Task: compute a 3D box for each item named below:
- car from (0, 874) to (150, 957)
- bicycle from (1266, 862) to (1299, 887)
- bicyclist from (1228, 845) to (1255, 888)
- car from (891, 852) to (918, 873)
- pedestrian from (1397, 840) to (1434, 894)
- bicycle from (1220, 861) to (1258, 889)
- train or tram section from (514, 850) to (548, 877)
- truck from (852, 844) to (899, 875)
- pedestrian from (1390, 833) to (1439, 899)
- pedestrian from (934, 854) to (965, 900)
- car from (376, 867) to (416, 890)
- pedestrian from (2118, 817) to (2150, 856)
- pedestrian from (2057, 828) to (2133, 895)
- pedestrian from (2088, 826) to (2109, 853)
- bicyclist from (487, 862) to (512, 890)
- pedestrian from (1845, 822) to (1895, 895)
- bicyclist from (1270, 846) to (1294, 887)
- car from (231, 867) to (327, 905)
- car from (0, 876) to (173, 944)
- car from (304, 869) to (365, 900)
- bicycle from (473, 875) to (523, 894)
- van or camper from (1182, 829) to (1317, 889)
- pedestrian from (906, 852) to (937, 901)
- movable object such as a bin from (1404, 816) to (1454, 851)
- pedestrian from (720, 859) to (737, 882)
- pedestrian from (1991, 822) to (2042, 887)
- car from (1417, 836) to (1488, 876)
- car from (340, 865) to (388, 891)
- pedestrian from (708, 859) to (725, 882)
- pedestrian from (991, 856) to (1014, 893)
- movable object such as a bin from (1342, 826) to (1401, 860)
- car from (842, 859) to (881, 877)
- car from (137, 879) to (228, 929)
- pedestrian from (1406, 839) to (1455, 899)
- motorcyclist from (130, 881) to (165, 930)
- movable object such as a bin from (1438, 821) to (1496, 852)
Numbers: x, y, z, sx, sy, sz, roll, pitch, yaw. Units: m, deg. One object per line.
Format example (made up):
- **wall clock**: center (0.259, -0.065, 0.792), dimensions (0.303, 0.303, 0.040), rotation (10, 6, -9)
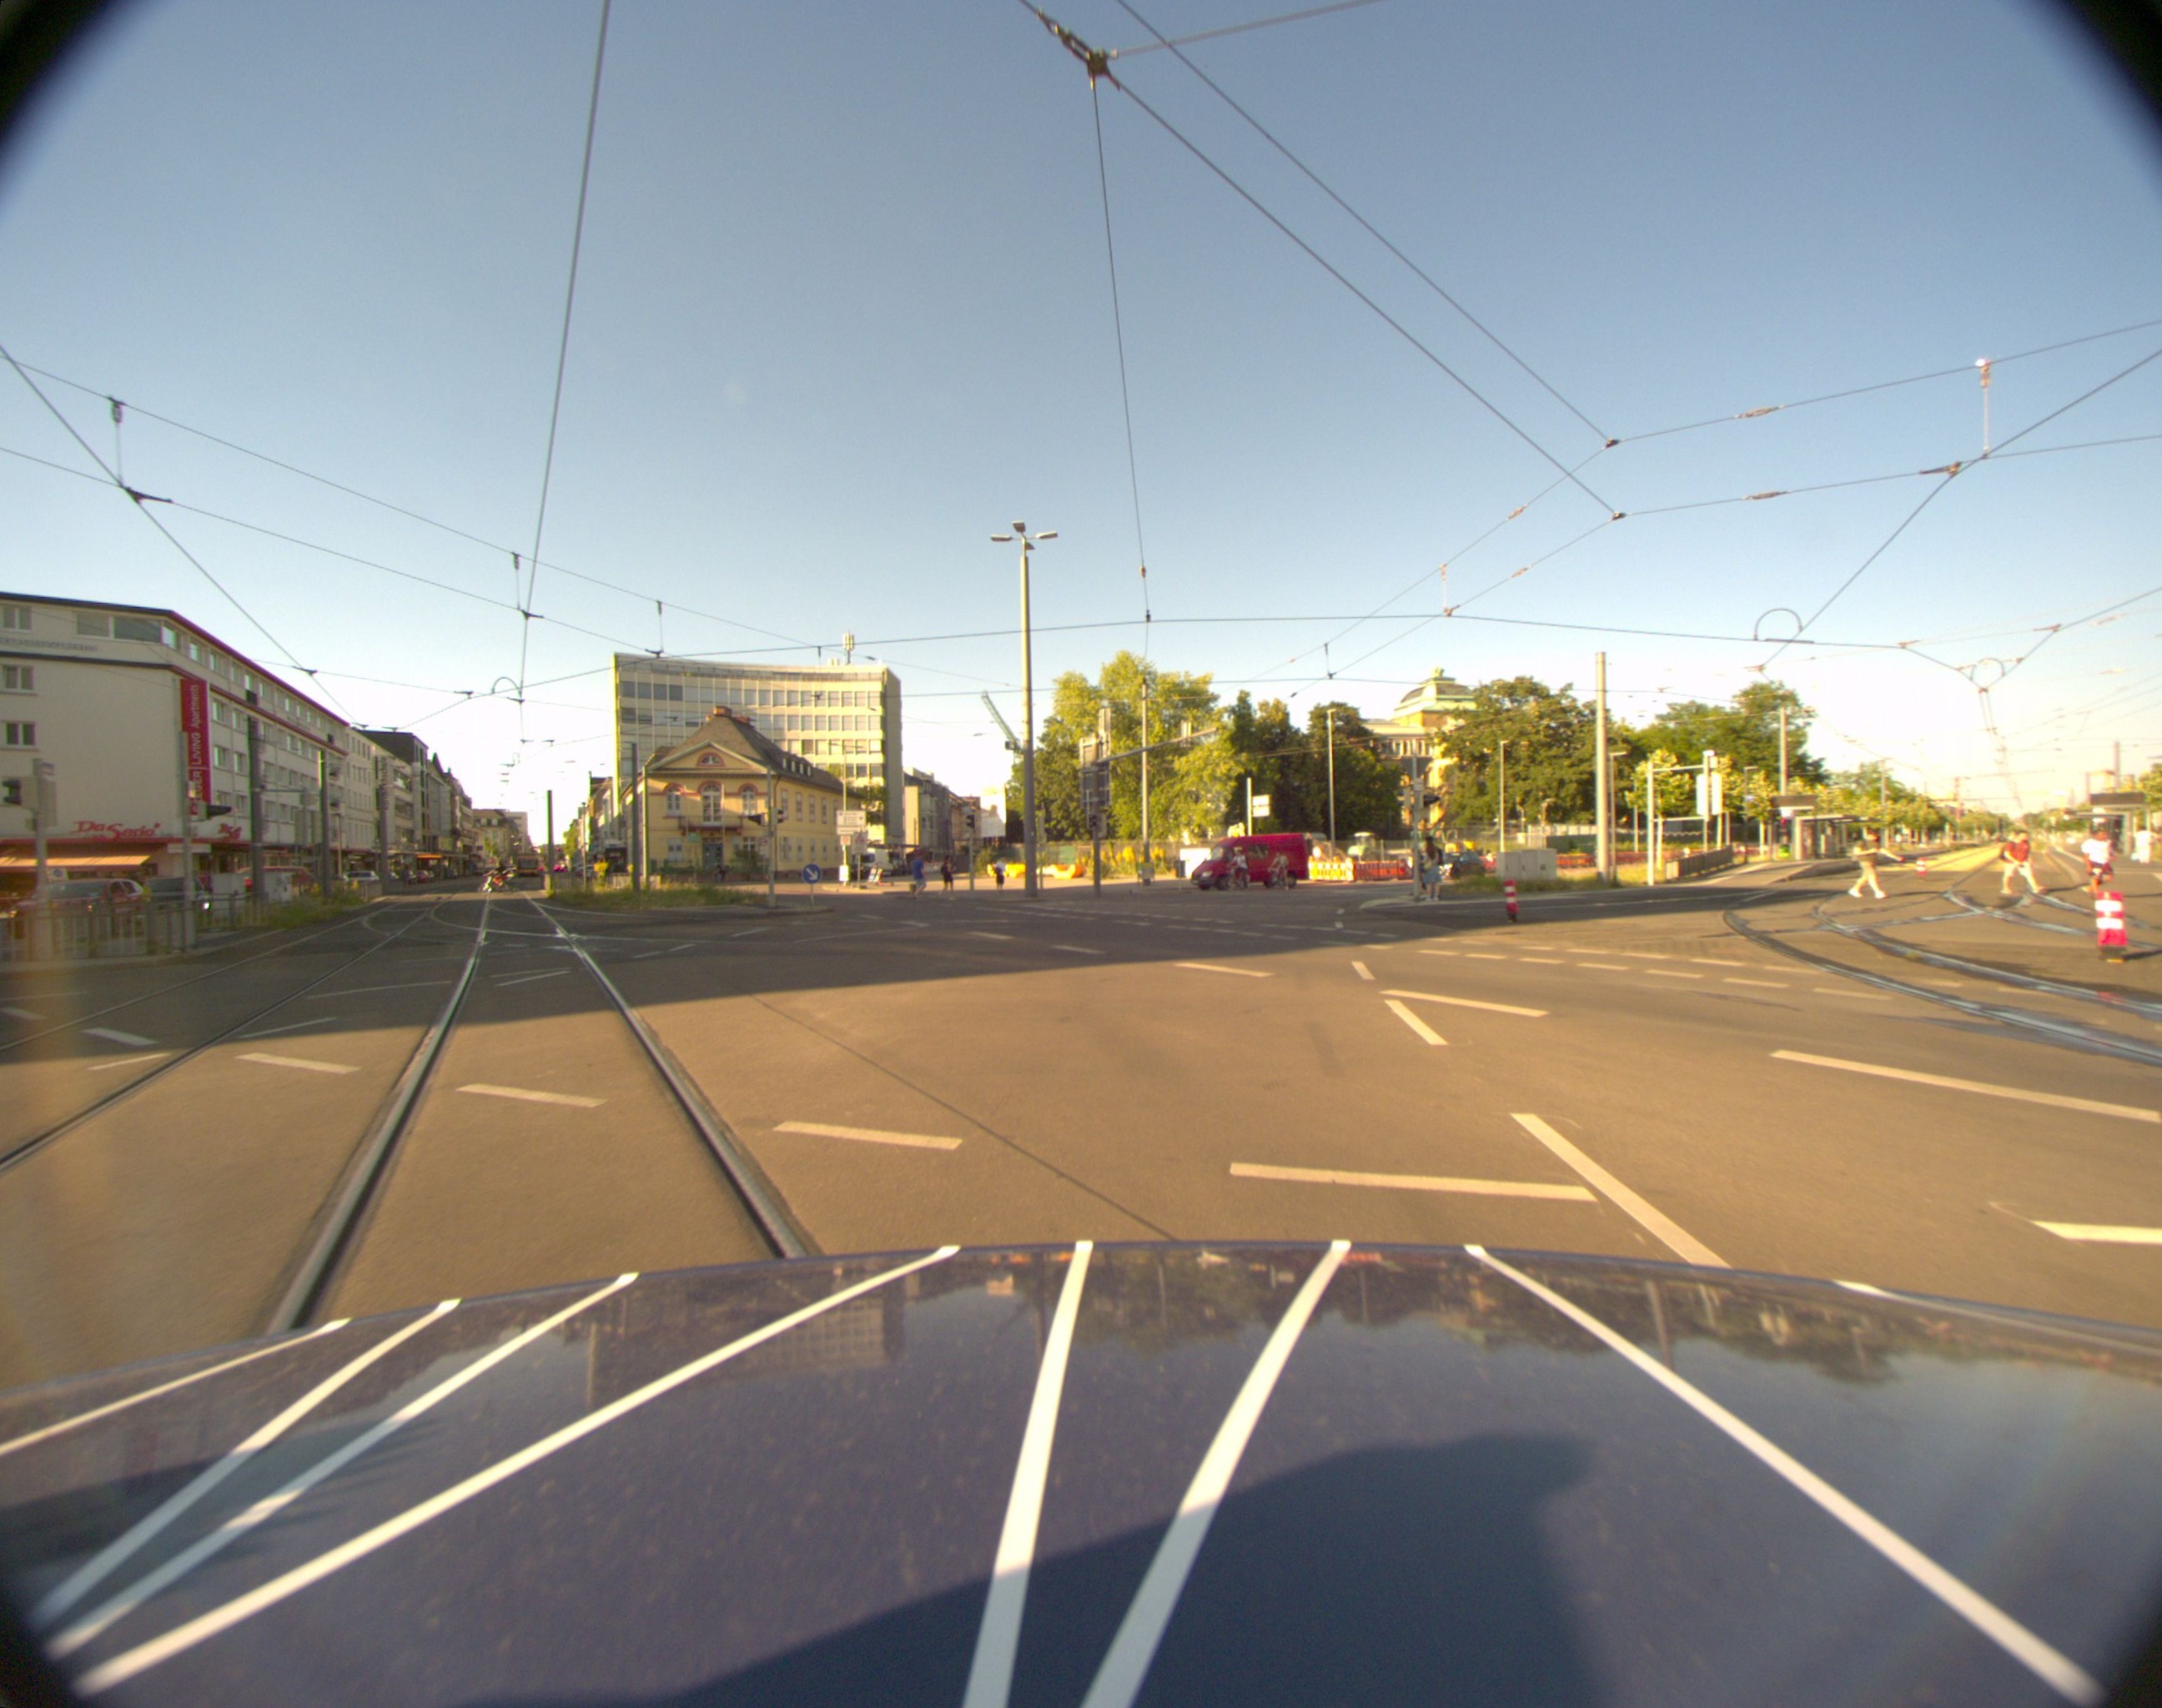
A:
- **car**: center (-22.723, 1.303, 16.646), dimensions (1.847, 1.608, 3.991), rotation (-2, -1, -34)
- **bicycle**: center (8.758, 0.900, 33.034), dimensions (1.697, 0.995, 0.541), rotation (-2, 0, -44)
- **bicyclist**: center (6.707, 0.526, 31.778), dimensions (1.062, 1.757, 0.541), rotation (-2, 0, -44)
- **car**: center (-18.132, 0.861, 78.146), dimensions (1.713, 1.969, 3.763), rotation (-3, 0, 2)
- **pedestrian**: center (10.452, 0.408, 23.749), dimensions (0.621, 1.631, 0.786), rotation (-3, 0, -41)
- **bicycle**: center (6.586, 0.862, 31.627), dimensions (1.812, 1.094, 0.541), rotation (-2, 0, -44)
- **train or tram section**: center (-82.676, 1.372, 114.240), dimensions (3.722, 3.811, 13.325), rotation (-2, 1, -36)
- **truck**: center (-18.319, 0.509, 68.032), dimensions (2.299, 2.533, 5.641), rotation (-3, 0, 2)
- **pedestrian**: center (9.572, 0.336, 21.827), dimensions (0.900, 1.790, 0.787), rotation (-5, 1, -12)
- **pedestrian**: center (-4.888, 0.849, 28.306), dimensions (0.696, 1.672, 1.043), rotation (-3, 0, 13)
- **car**: center (-64.685, 2.298, 71.851), dimensions (2.003, 2.001, 4.861), rotation (-2, 0, -33)
- **pedestrian**: center (46.256, -0.783, 33.379), dimensions (0.620, 1.663, 0.786), rotation (-3, 0, -36)
- **pedestrian**: center (23.796, 0.199, 17.843), dimensions (0.786, 1.538, 0.620), rotation (-1, -3, 15)
- **pedestrian**: center (63.912, -0.919, 47.734), dimensions (0.773, 1.682, 0.658), rotation (-3, 0, -41)
- **bicyclist**: center (-31.450, 1.203, 41.092), dimensions (0.899, 1.449, 0.723), rotation (-3, 0, -24)
- **pedestrian**: center (20.443, 0.123, 19.692), dimensions (0.620, 1.853, 0.786), rotation (-3, 0, -36)
- **bicyclist**: center (8.714, 0.520, 32.961), dimensions (0.794, 1.735, 0.614), rotation (-3, 0, -44)
- **car**: center (-42.341, 1.652, 40.252), dimensions (1.906, 1.831, 4.618), rotation (-2, 0, -25)
- **car**: center (-27.231, 1.466, 20.896), dimensions (1.847, 1.608, 3.991), rotation (-2, -1, -34)
- **car**: center (-51.903, 2.117, 52.938), dimensions (2.003, 2.001, 4.861), rotation (-2, 0, -33)
- **bicycle**: center (-31.483, 1.630, 41.073), dimensions (1.993, 0.942, 0.723), rotation (-2, 0, -24)
- **van or camper**: center (7.894, 0.219, 35.611), dimensions (5.919, 2.514, 1.997), rotation (-2, 0, -20)
- **pedestrian**: center (-5.919, 0.828, 28.261), dimensions (0.696, 1.782, 1.043), rotation (-3, 0, 13)
- **movable object such as a bin**: center (35.304, -2.089, 76.965), dimensions (5.384, 3.310, 1.995), rotation (-2, 0, -35)
- **pedestrian**: center (-25.833, 1.207, 55.629), dimensions (0.684, 1.632, 0.819), rotation (-3, 0, 24)
- **pedestrian**: center (25.073, 0.024, 20.359), dimensions (0.620, 1.689, 0.786), rotation (-3, 0, -36)
- **car**: center (20.392, 0.077, 41.634), dimensions (4.007, 2.002, 1.995), rotation (-2, 0, -41)
- **car**: center (-60.420, 2.028, 64.144), dimensions (2.003, 2.001, 4.861), rotation (-2, 0, -33)
- **pedestrian**: center (-26.274, 1.179, 54.735), dimensions (0.684, 1.632, 0.819), rotation (-3, 0, 24)
- **pedestrian**: center (-3.805, 1.010, 37.002), dimensions (0.762, 1.752, 1.006), rotation (-3, 0, -24)
- **movable object such as a bin**: center (24.068, -0.924, 62.968), dimensions (5.022, 2.668, 1.995), rotation (-2, 0, -35)
- **car**: center (-17.946, 1.103, 62.337), dimensions (1.713, 1.356, 4.196), rotation (-3, -1, 2)
- **car**: center (-32.595, 1.781, 27.539), dimensions (3.989, 1.608, 1.848), rotation (-3, 0, 37)
- **pedestrian**: center (9.775, 0.417, 21.263), dimensions (0.900, 1.631, 0.788), rotation (-3, 0, -5)
- **motorcyclist**: center (-29.579, 1.611, 24.079), dimensions (0.536, 1.500, 0.461), rotation (-3, 0, -34)
- **movable object such as a bin**: center (37.554, -1.742, 73.931), dimensions (5.875, 2.799, 1.996), rotation (-2, 0, -29)
